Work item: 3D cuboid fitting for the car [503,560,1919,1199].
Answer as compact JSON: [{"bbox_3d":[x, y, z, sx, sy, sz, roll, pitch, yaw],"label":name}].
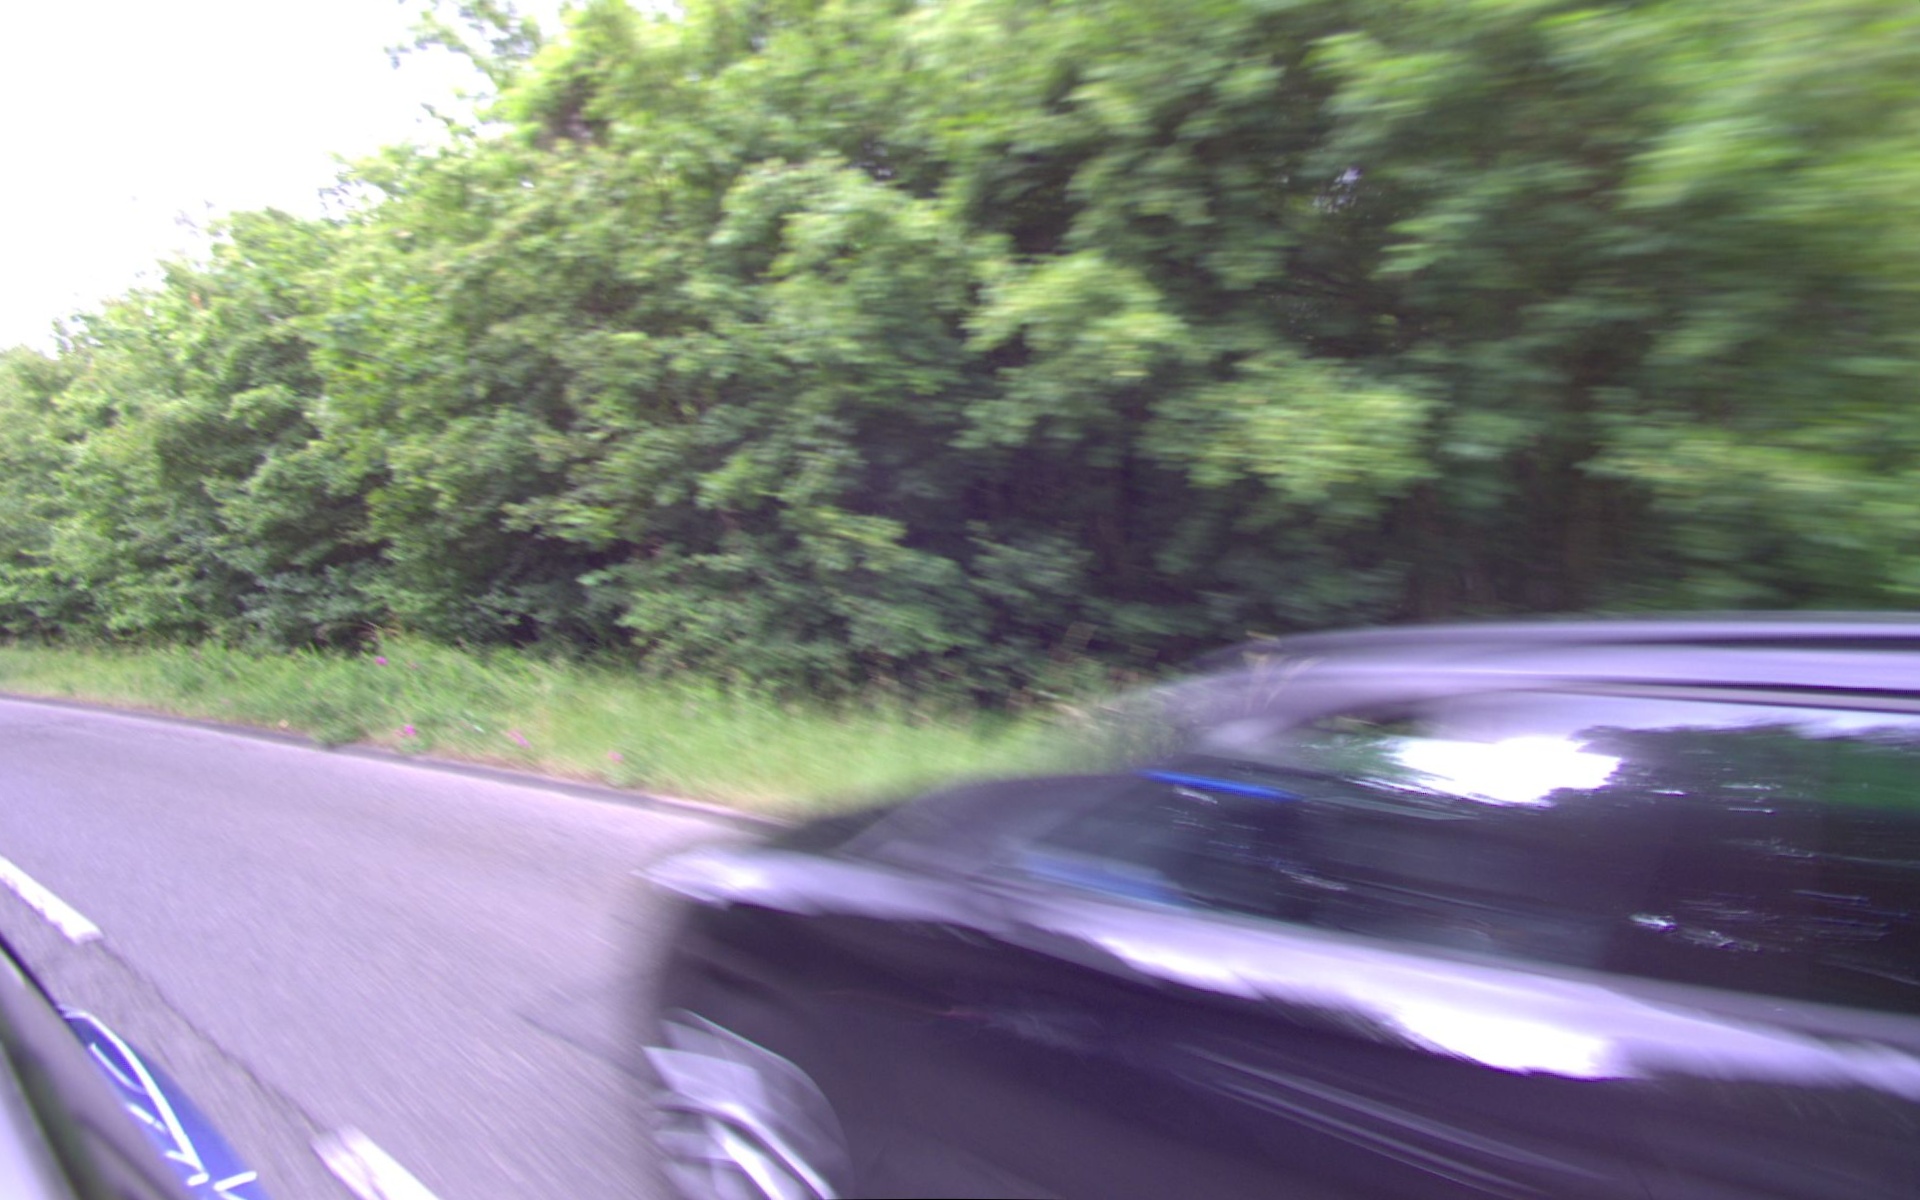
[{"bbox_3d":[1.154,0.678,1.844,4.656,1.445,1.784,-2,0,40],"label":"car"}]
